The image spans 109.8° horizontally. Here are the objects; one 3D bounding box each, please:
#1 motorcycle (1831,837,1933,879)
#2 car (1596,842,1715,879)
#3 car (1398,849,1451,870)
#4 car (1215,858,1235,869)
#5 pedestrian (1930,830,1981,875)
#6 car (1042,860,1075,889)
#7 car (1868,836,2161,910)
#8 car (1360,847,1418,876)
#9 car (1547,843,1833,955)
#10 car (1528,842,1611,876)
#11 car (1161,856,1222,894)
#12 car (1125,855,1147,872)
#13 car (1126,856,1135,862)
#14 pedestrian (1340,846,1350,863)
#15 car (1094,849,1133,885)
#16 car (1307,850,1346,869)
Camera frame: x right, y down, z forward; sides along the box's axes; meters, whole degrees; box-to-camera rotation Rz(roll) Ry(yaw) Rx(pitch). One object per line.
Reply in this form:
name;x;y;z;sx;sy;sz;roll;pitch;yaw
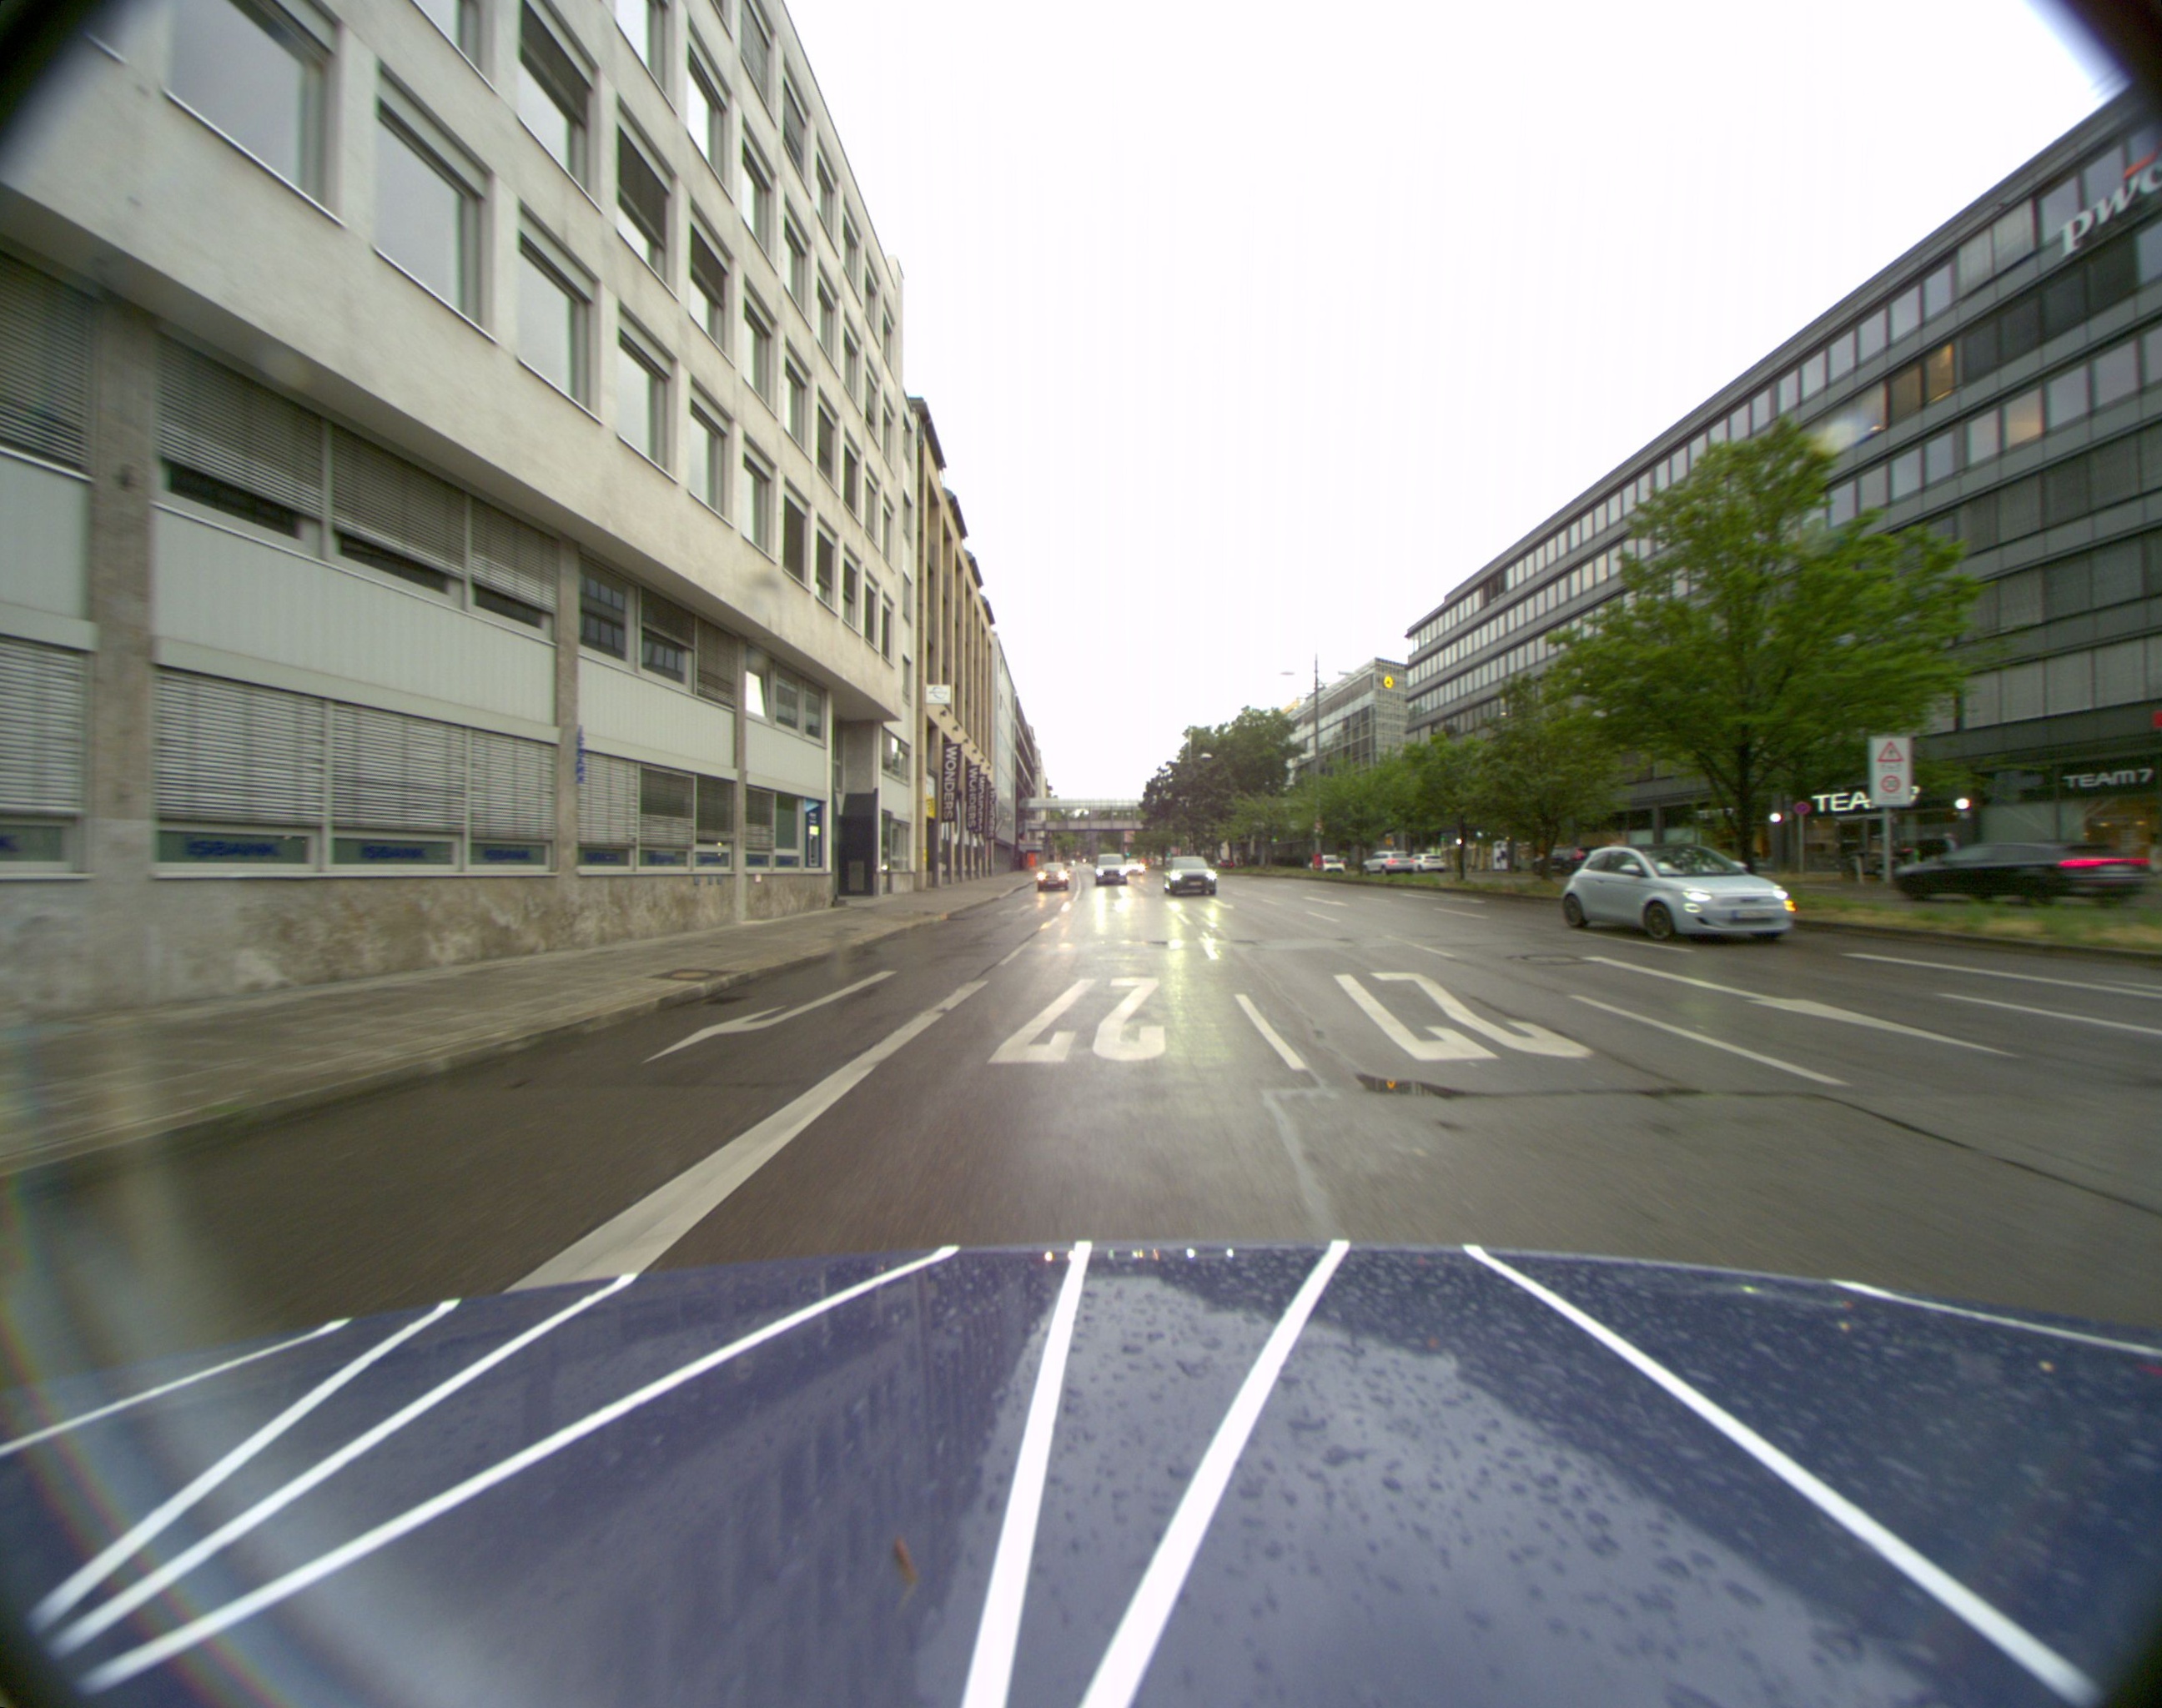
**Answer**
motorcycle;28.879;0.151;27.456;0.860;1.386;2.365;-5;2;-27
car;26.397;0.274;35.173;1.813;1.476;4.772;-4;0;0
car;26.079;0.387;57.859;1.814;1.436;4.308;-2;0;-3
car;20.163;1.299;106.772;1.813;1.467;4.300;-1;0;-2
pedestrian;32.594;-0.061;28.339;0.785;1.628;0.966;-1;0;0
car;-1.219;1.064;40.837;1.666;1.464;3.483;-2;0;-2
car;22.324;0.397;18.337;1.999;1.535;4.482;-1;0;0
car;20.104;0.482;49.753;1.742;1.718;4.492;-2;0;-3
car;9.816;0.644;12.682;1.788;1.564;3.691;-1;0;0
car;26.440;0.247;41.318;1.813;1.651;4.310;-2;0;1
car;4.486;0.829;31.410;1.941;1.426;4.288;-1;0;1
car;5.107;0.869;71.336;1.853;1.434;3.870;-2;0;2
car;11.329;1.097;174.141;1.732;1.303;4.076;-2;0;-4
pedestrian;30.160;0.047;86.880;0.729;1.822;0.924;-2;1;0
car;1.966;0.774;47.169;2.163;2.014;5.041;-2;0;0
car;19.541;0.419;60.621;1.687;1.423;4.082;-2;0;-2
